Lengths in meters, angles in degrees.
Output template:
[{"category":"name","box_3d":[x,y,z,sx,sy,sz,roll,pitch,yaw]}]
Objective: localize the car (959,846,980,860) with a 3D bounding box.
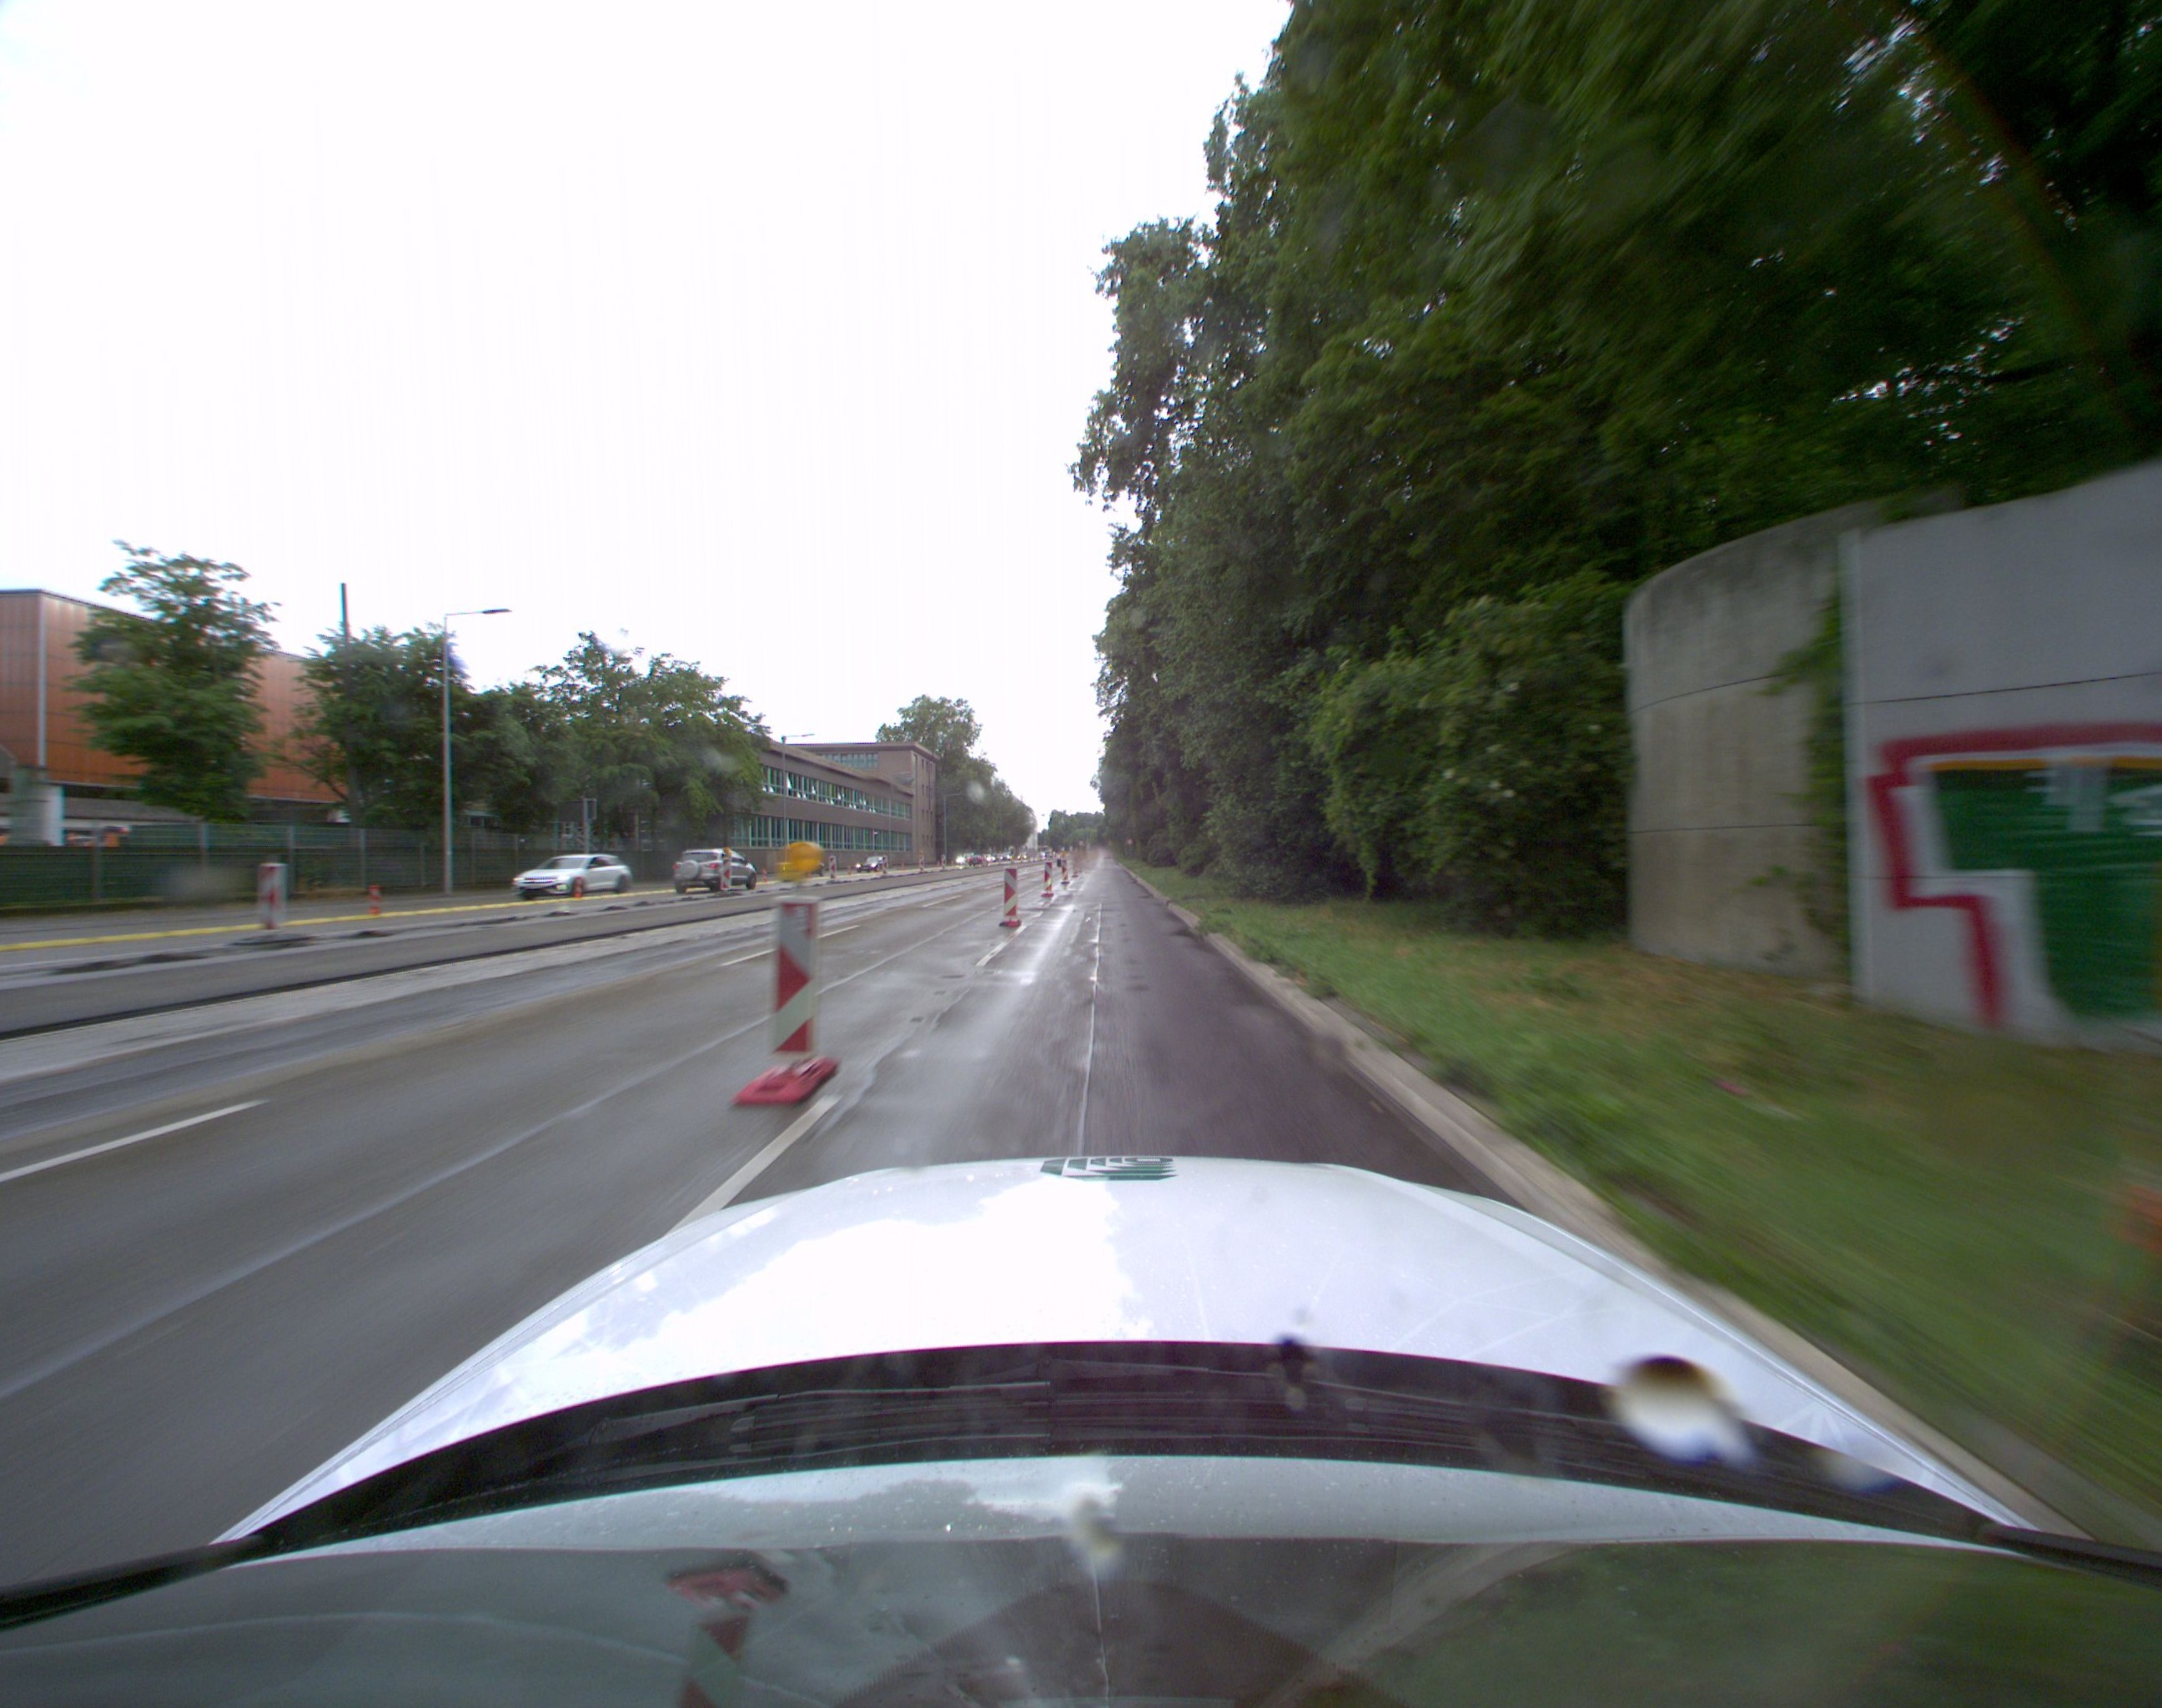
[{"category":"car","box_3d":[-14.929,-0.159,109.133,1.980,1.768,4.678,0,0,3]}]

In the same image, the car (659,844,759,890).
[{"category":"car","box_3d":[-13.980,0.462,30.850,1.848,1.648,4.001,0,0,1]}]

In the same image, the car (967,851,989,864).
[{"category":"car","box_3d":[-12.037,0.405,95.811,1.986,1.519,4.001,0,0,1]}]

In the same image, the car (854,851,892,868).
[{"category":"car","box_3d":[-18.513,0.449,72.567,2.039,1.454,4.766,0,0,2]}]

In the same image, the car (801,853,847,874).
[{"category":"car","box_3d":[-18.592,0.655,59.136,1.987,1.429,4.265,0,1,0]}]

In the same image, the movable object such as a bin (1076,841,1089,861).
[{"category":"movable object such as a bin","box_3d":[0.309,-0.470,138.386,1.986,3.367,5.985,0,0,2]}]

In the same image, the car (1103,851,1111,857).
[{"category":"car","box_3d":[6.545,0.019,203.325,1.986,1.673,4.002,0,0,2]}]

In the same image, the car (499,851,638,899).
[{"category":"car","box_3d":[-17.452,0.656,28.029,1.986,1.513,4.268,0,1,2]}]

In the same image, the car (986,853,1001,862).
[{"category":"car","box_3d":[-14.849,0.534,138.718,1.886,1.502,4.520,0,0,3]}]
